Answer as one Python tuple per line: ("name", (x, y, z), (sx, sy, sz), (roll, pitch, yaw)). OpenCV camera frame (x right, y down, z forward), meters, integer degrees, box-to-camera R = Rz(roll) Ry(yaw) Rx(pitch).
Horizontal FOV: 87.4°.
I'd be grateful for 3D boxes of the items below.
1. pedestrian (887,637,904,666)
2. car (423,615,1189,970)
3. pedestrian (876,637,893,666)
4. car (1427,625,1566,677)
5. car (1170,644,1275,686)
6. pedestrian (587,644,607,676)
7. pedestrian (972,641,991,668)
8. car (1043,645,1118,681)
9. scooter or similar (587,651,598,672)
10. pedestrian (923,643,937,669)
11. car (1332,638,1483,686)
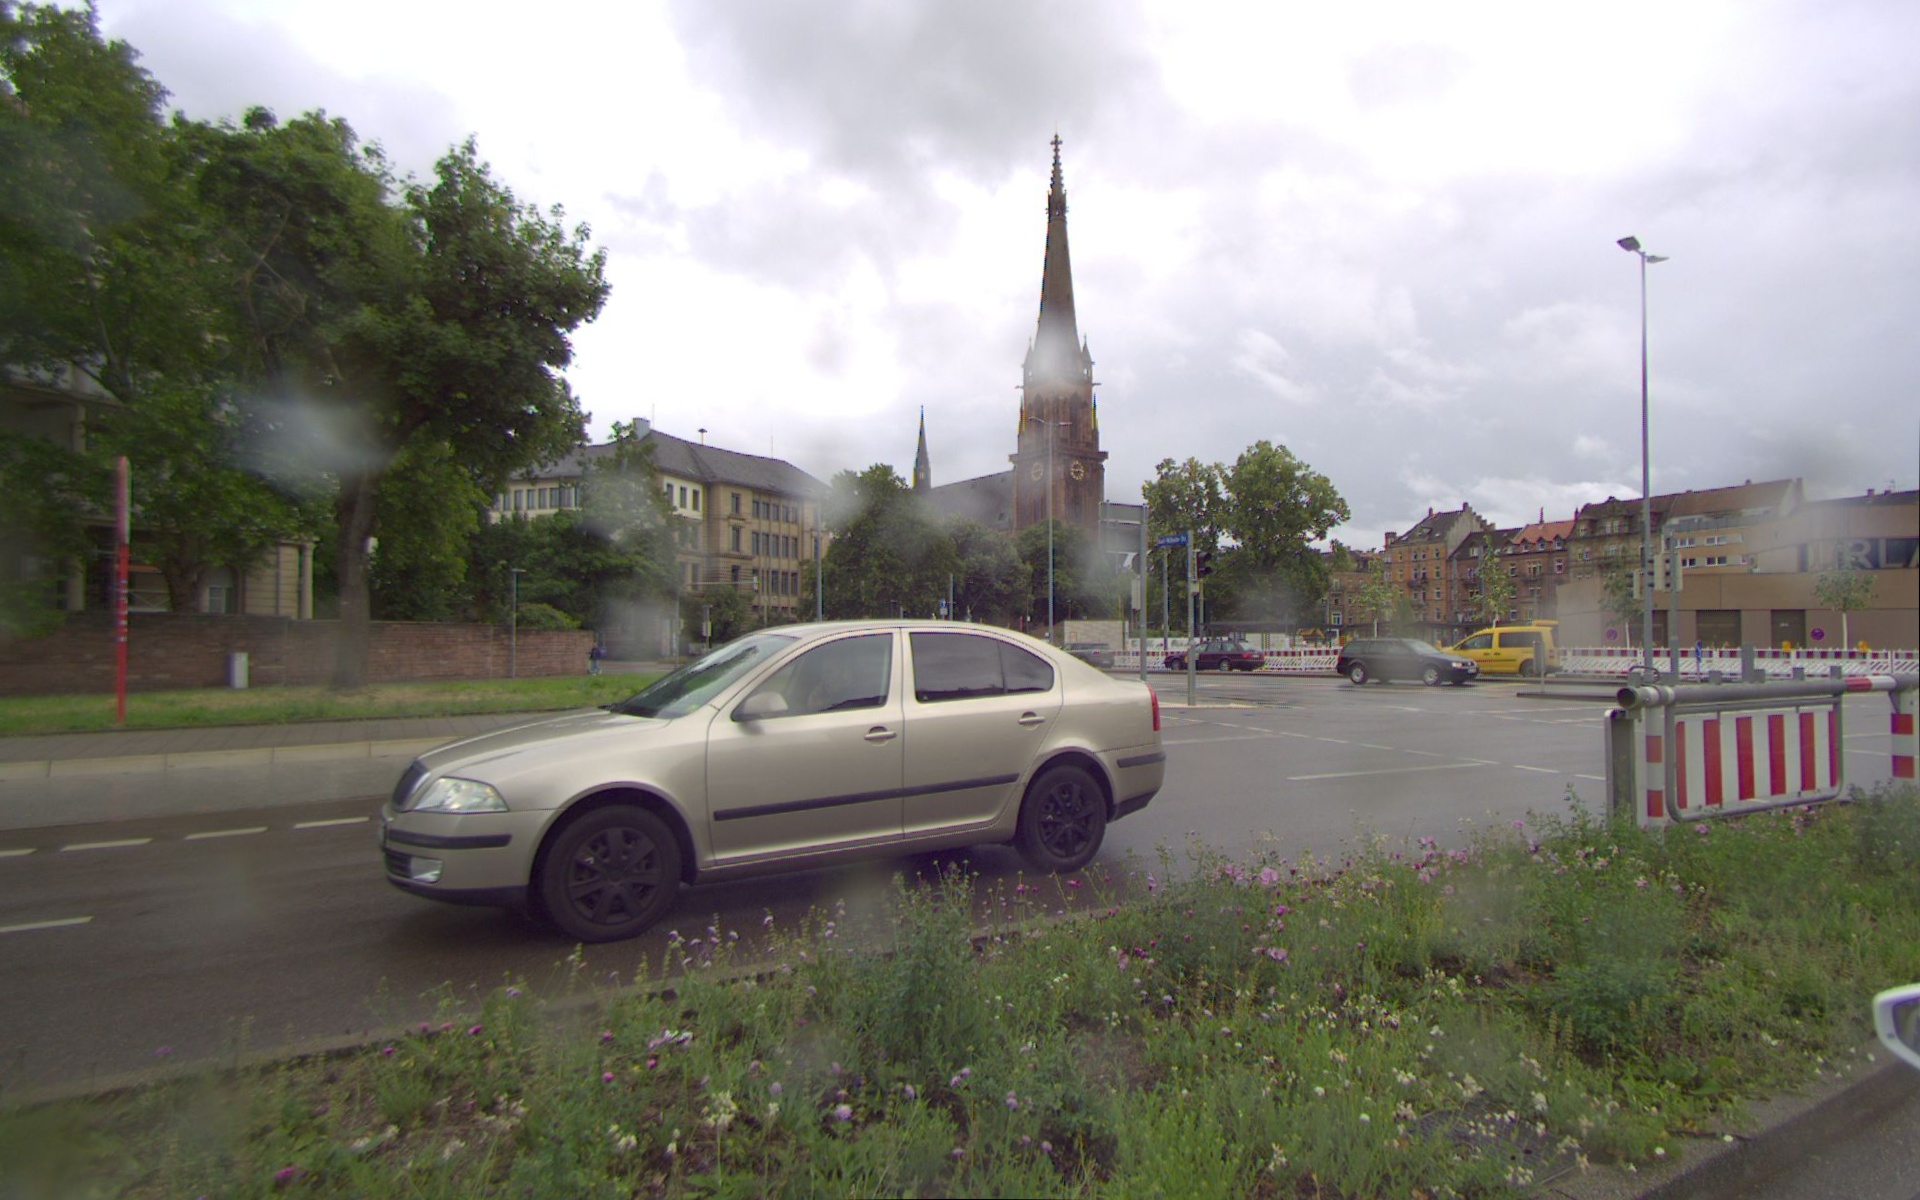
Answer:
("pedestrian", (-4.631, 3.647, 71.654), (0.945, 2.040, 0.852), (1, -2, -30))
("car", (-0.755, 0.846, 5.899), (4.137, 1.434, 1.685), (1, -2, -32))
("pedestrian", (-5.443, 3.707, 72.486), (0.945, 2.040, 0.852), (1, -2, -30))
("car", (18.788, 1.758, 35.234), (4.086, 1.728, 1.705), (-1, -2, 37))
("car", (11.539, 2.823, 44.400), (1.695, 1.728, 4.414), (1, -2, -37))
("pedestrian", (-17.642, 2.906, 48.801), (0.662, 1.520, 0.774), (0, -2, 0))
("pedestrian", (1.678, 4.243, 78.623), (0.981, 2.040, 1.305), (-1, -2, 34))
("car", (6.152, 3.194, 51.680), (1.695, 1.728, 3.780), (1, -2, -37))
("scooter or similar", (-19.393, 3.253, 52.979), (0.274, 1.096, 1.078), (0, -2, -4))
("pedestrian", (-2.081, 3.853, 69.440), (0.765, 1.801, 0.720), (1, -2, -30))
("car", (14.171, 1.921, 31.987), (1.602, 1.420, 4.163), (1, -2, -36))
